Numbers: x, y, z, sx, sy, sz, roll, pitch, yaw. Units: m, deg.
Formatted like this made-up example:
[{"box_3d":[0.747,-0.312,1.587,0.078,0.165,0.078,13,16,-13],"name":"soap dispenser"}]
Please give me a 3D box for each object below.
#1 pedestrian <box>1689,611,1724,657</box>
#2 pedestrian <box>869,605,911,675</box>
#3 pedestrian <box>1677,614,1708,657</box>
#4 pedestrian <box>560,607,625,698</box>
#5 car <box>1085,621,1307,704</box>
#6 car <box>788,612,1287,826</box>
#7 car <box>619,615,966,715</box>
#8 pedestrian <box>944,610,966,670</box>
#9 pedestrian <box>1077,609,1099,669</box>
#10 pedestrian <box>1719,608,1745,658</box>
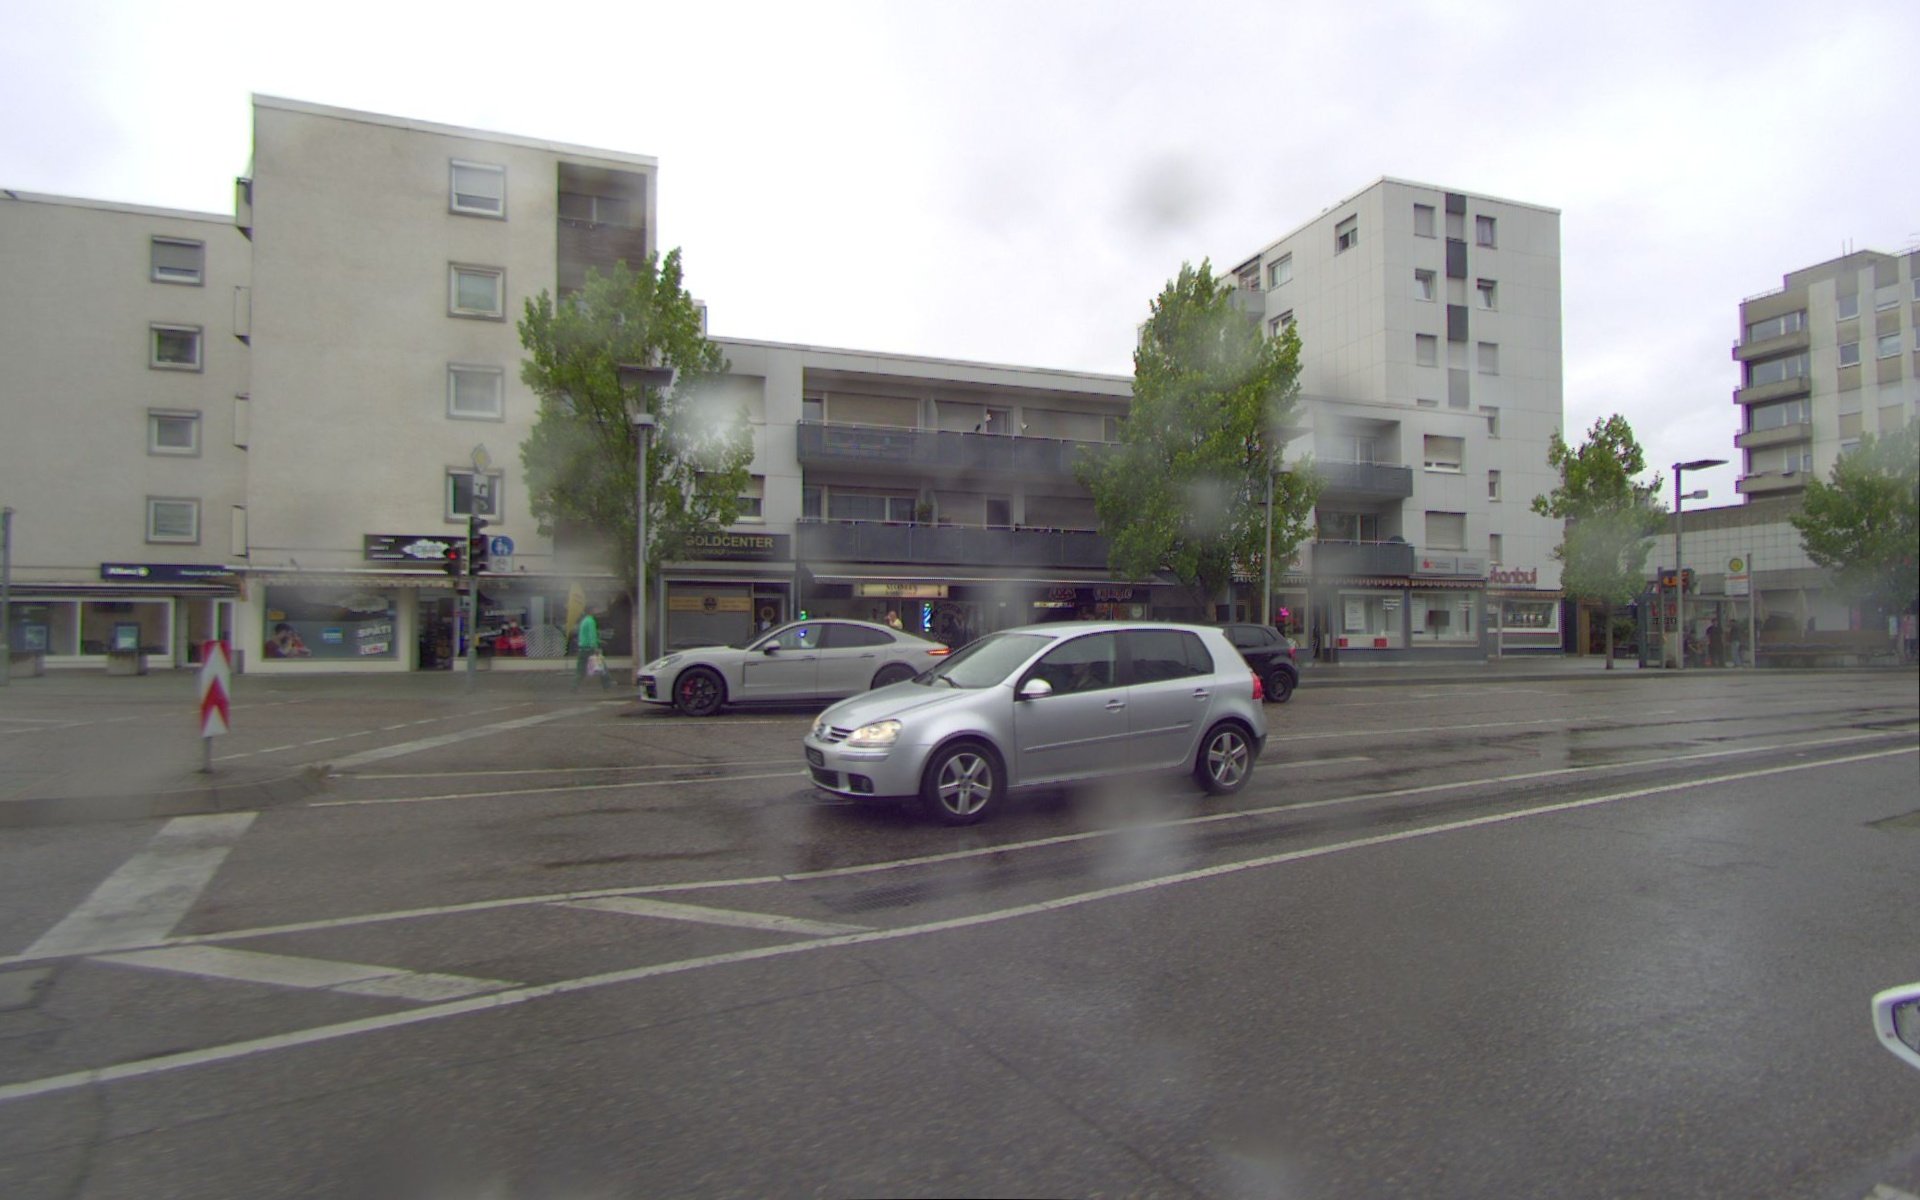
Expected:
[{"box_3d":[26.554,1.213,35.740,0.628,1.592,0.791,-1,-2,-29],"name":"pedestrian"},{"box_3d":[-1.887,1.081,27.047,0.911,1.835,0.870,0,-2,-22],"name":"pedestrian"},{"box_3d":[25.763,1.236,35.332,0.628,1.490,0.631,-1,-2,-29],"name":"pedestrian"},{"box_3d":[-6.871,0.970,18.789,0.939,1.644,0.804,-2,-3,44],"name":"pedestrian"},{"box_3d":[4.205,1.065,17.851,3.722,1.314,1.432,0,-1,-23],"name":"car"},{"box_3d":[0.687,0.859,8.587,3.941,1.460,1.735,0,-2,-27],"name":"car"},{"box_3d":[-2.590,0.965,15.870,5.056,1.432,2.119,0,-1,-12],"name":"car"},{"box_3d":[-0.152,1.168,29.459,0.493,1.746,0.447,1,-2,-24],"name":"pedestrian"},{"box_3d":[3.923,1.183,30.721,0.483,1.817,0.566,0,-2,-15],"name":"pedestrian"},{"box_3d":[27.036,1.145,35.156,0.531,1.741,0.485,-1,-1,-25],"name":"pedestrian"}]
